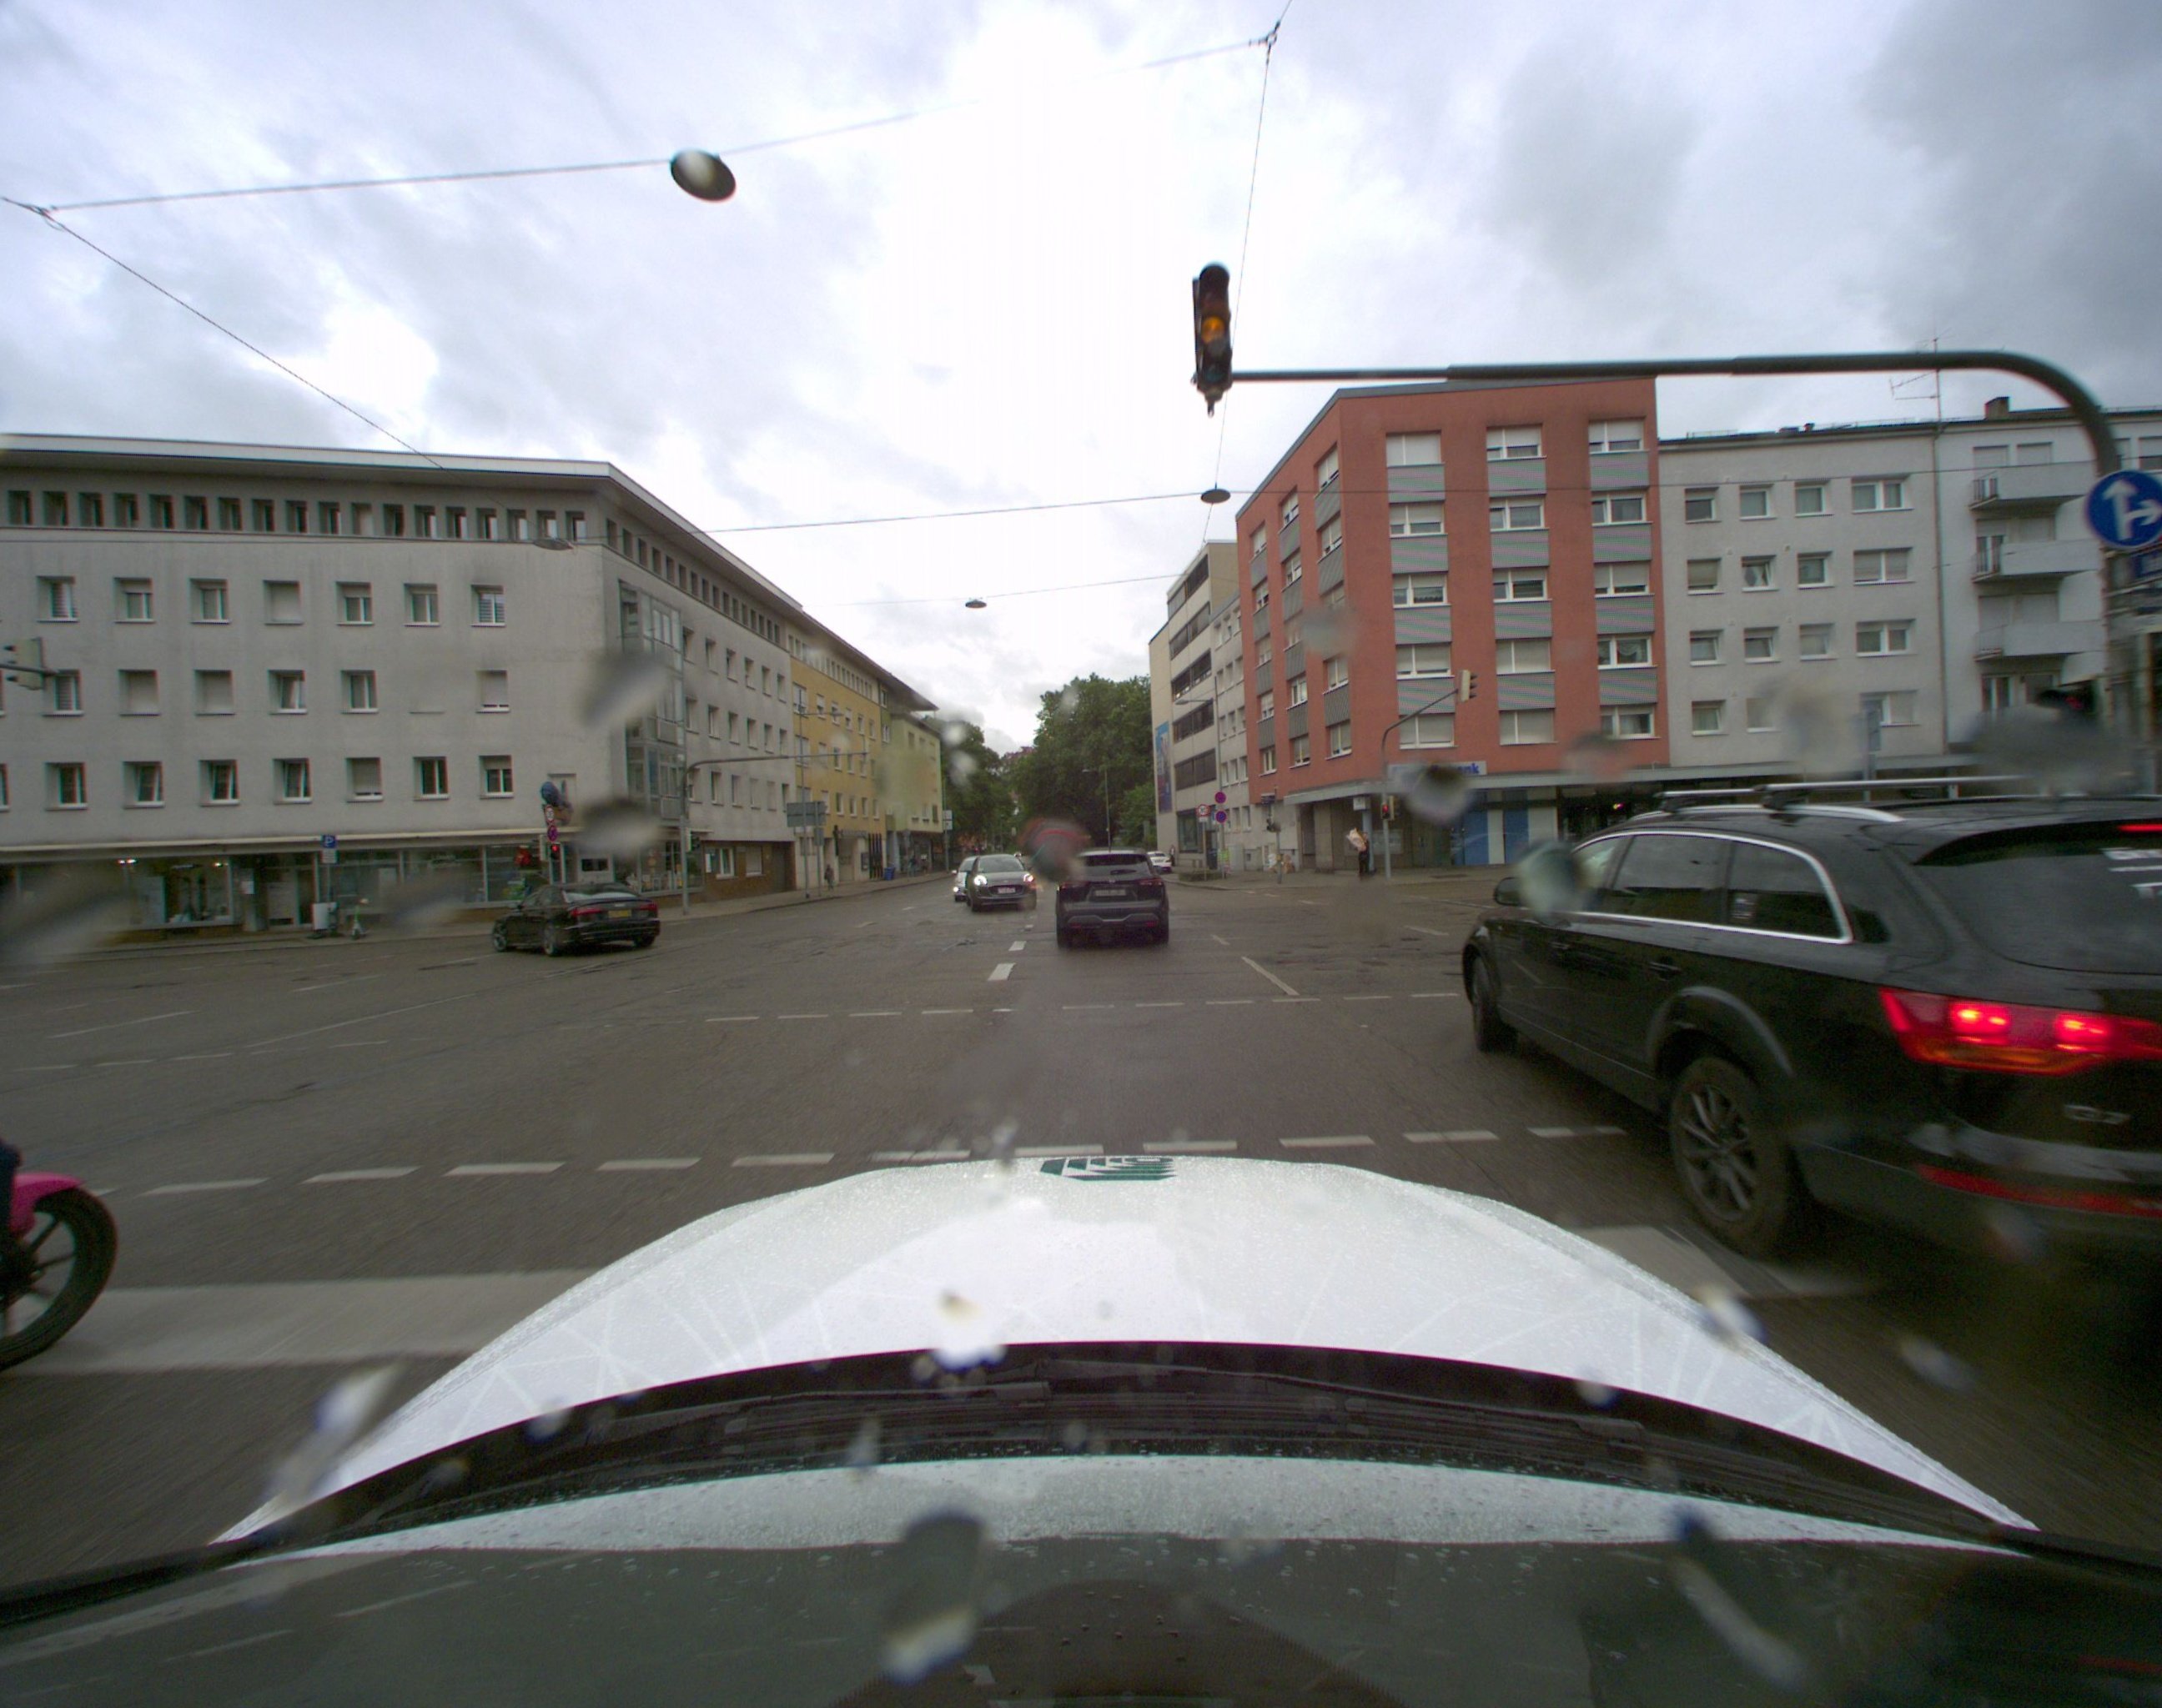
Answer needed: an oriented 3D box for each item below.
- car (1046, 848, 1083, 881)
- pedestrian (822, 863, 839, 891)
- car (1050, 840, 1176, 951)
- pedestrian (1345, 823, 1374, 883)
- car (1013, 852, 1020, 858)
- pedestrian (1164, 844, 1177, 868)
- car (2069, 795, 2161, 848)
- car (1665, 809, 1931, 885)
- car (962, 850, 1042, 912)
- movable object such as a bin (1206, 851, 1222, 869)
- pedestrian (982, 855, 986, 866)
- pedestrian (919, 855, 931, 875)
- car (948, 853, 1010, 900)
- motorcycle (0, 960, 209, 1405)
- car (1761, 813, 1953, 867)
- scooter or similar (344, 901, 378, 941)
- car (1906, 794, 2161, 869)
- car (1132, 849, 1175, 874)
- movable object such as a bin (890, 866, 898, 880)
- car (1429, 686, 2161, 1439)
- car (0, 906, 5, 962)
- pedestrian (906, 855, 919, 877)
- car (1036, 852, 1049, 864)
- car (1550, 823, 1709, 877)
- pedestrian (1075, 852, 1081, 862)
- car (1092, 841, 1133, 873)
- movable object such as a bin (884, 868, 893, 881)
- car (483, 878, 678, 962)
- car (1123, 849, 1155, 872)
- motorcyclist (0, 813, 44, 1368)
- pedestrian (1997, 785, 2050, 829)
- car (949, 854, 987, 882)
[{"bbox_3d":[-0.994,0.596,46.970,1.941,1.684,3.995,-4,0,-3],"label":"car"},{"bbox_3d":[-14.030,1.283,45.598,0.684,1.581,0.652,0,0,3],"label":"pedestrian"},{"bbox_3d":[0.438,0.631,14.451,1.889,1.629,3.997,-2,0,-2],"label":"car"},{"bbox_3d":[10.196,-0.030,29.838,0.822,2.158,0.770,-1,0,2],"label":"pedestrian"},{"bbox_3d":[-17.291,0.269,218.520,1.817,1.796,3.861,-1,0,-3],"label":"car"},{"bbox_3d":[6.646,0.141,60.429,0.612,1.737,0.678,-4,0,-11],"label":"pedestrian"},{"bbox_3d":[34.072,-1.075,25.382,4.221,1.542,1.758,-3,0,3],"label":"car"},{"bbox_3d":[16.968,-0.155,19.440,4.635,1.486,1.920,-3,0,0],"label":"car"},{"bbox_3d":[-2.387,0.736,23.755,1.857,1.553,4.210,-3,0,-11],"label":"car"},{"bbox_3d":[8.176,0.381,50.040,0.713,1.068,0.781,-3,0,-11],"label":"movable object such as a bin"},{"bbox_3d":[-15.901,1.125,133.278,0.667,1.791,0.719,-1,0,-11],"label":"pedestrian"},{"bbox_3d":[-13.488,0.929,70.391,0.797,1.688,0.816,-2,0,-5],"label":"pedestrian"},{"bbox_3d":[-3.682,0.802,29.975,1.930,1.527,4.129,-3,-1,-4],"label":"car"},{"bbox_3d":[-3.352,0.971,1.824,0.585,1.191,2.100,-1,0,-2],"label":"motorcycle"},{"bbox_3d":[24.349,-0.436,25.655,4.353,1.425,1.669,-3,0,1],"label":"car"},{"bbox_3d":[-22.523,2.084,25.495,0.366,1.094,1.127,-4,3,-21],"label":"scooter or similar"},{"bbox_3d":[22.741,-0.525,19.267,4.493,1.486,1.846,-3,0,1],"label":"car"},{"bbox_3d":[4.553,0.433,51.948,1.772,1.401,4.569,-4,0,-7],"label":"car"},{"bbox_3d":[-14.338,1.474,62.546,0.397,1.006,0.545,-2,0,3],"label":"movable object such as a bin"},{"bbox_3d":[3.561,0.489,4.368,2.009,1.869,4.913,-1,0,10],"label":"car"},{"bbox_3d":[-34.120,2.485,22.915,4.327,1.631,2.039,-3,0,-10],"label":"car"},{"bbox_3d":[-13.938,0.971,67.396,0.862,1.788,0.875,0,0,2],"label":"pedestrian"},{"bbox_3d":[-5.347,0.550,113.334,1.817,1.612,3.860,-1,0,-4],"label":"car"},{"bbox_3d":[17.592,-0.131,26.250,3.931,1.486,1.703,-3,0,1],"label":"car"},{"bbox_3d":[-0.434,0.528,137.484,0.712,1.791,0.673,-1,0,44],"label":"pedestrian"},{"bbox_3d":[1.940,0.214,50.964,1.943,1.816,3.992,-4,0,-6],"label":"car"},{"bbox_3d":[-14.282,1.514,60.362,0.452,0.929,0.503,-2,0,3],"label":"movable object such as a bin"},{"bbox_3d":[-10.498,1.286,16.959,4.441,1.388,2.013,-2,1,39],"label":"car"},{"bbox_3d":[4.112,0.449,58.374,1.711,1.442,4.077,-4,0,-3],"label":"car"},{"bbox_3d":[-3.359,0.636,1.828,0.912,1.493,0.864,0,-1,-2],"label":"motorcyclist"},{"bbox_3d":[35.329,-1.741,30.529,1.006,1.612,0.826,-1,0,3],"label":"pedestrian"},{"bbox_3d":[-7.442,0.924,54.175,1.815,1.640,4.372,-3,-1,0],"label":"car"}]
